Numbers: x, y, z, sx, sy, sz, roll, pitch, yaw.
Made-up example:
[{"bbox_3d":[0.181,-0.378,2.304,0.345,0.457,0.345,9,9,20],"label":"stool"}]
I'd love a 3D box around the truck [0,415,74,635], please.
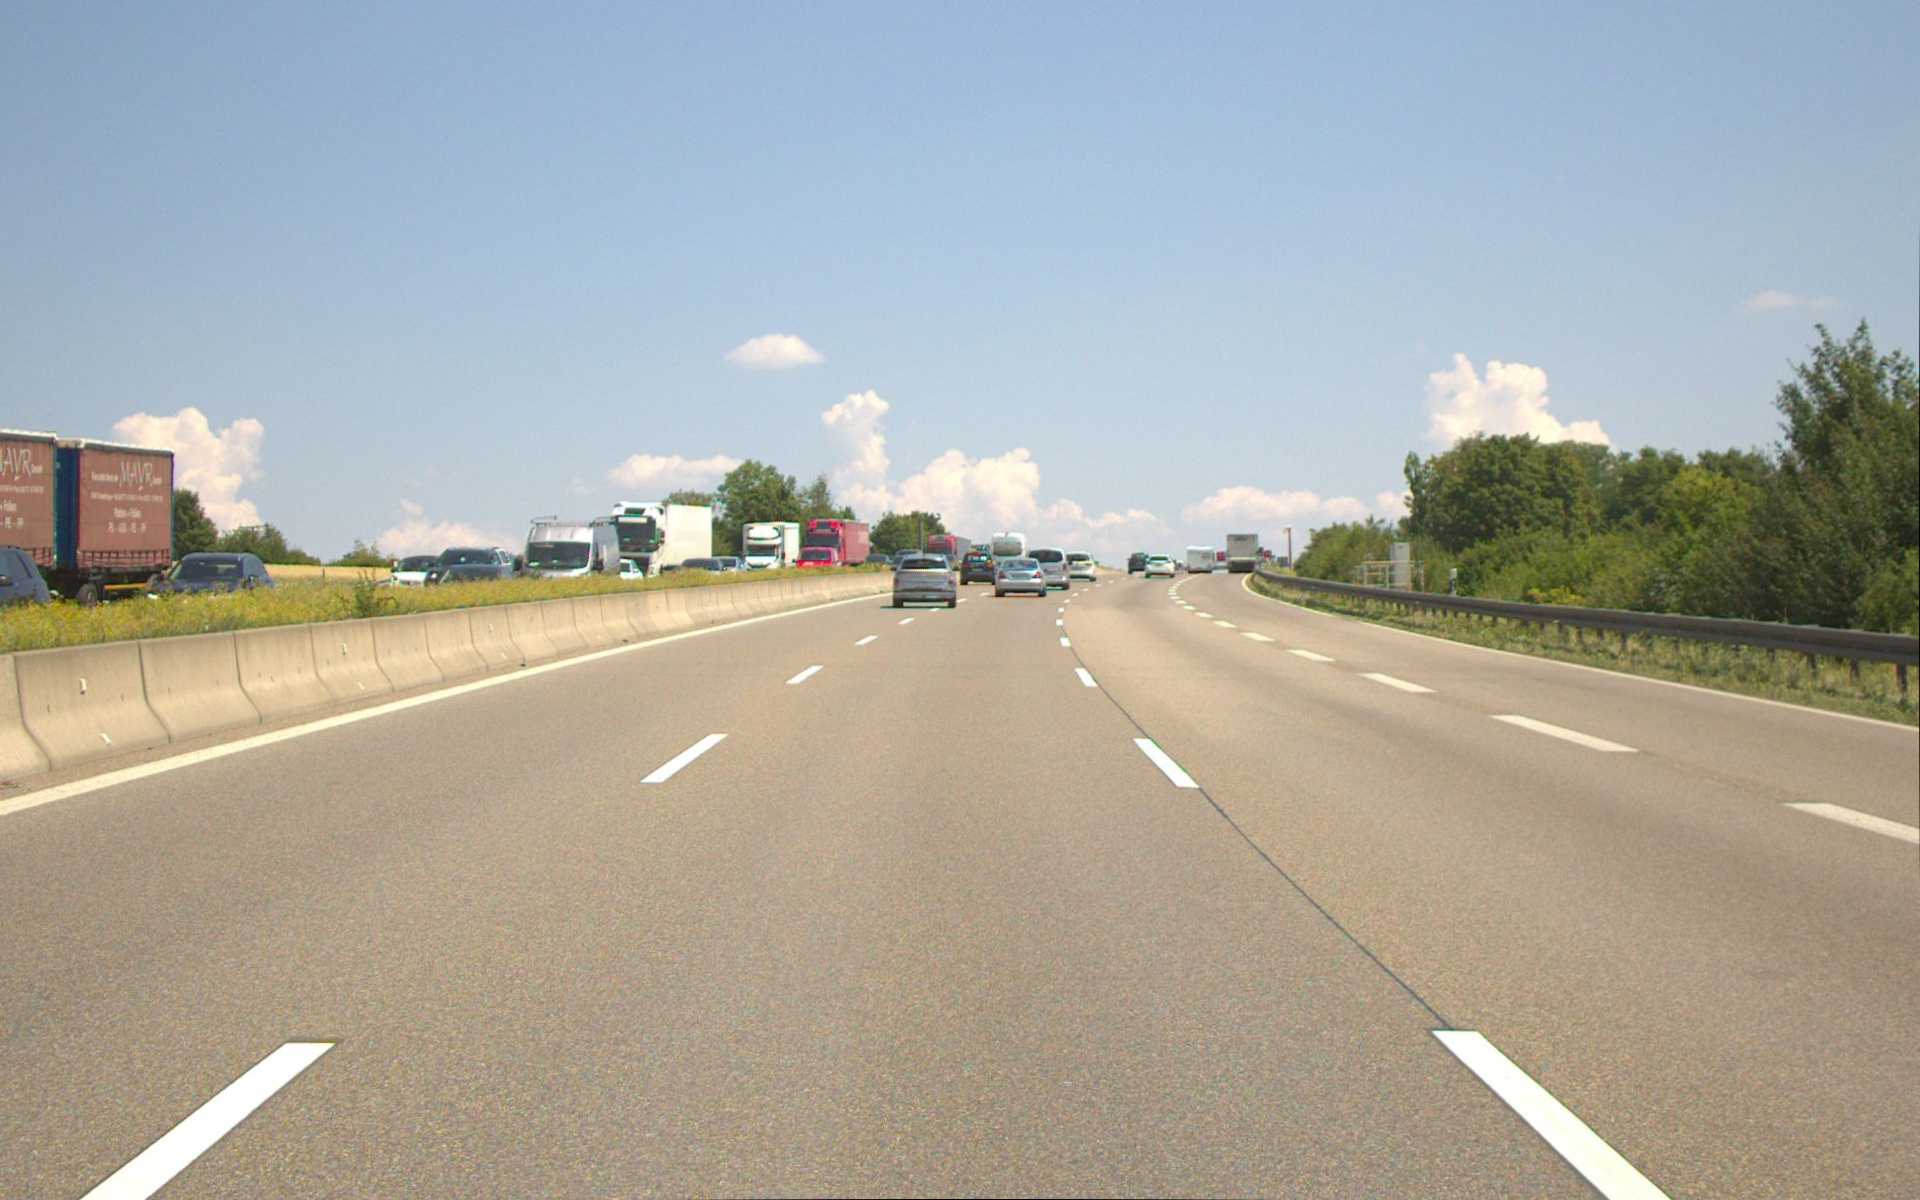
[{"bbox_3d":[-19.589,-1.433,64.610,2.887,4.157,10.622,1,1,1],"label":"truck"}]

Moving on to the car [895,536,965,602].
[{"bbox_3d":[-0.884,-0.884,101.130,1.993,1.744,4.000,1,-2,0],"label":"car"}]

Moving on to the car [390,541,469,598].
[{"bbox_3d":[-17.791,-1.026,115.467,1.993,1.842,4.000,1,0,0],"label":"car"}]

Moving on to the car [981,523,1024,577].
[{"bbox_3d":[2.303,-2.653,183.817,2.180,2.616,4.671,1,-2,2],"label":"car"}]

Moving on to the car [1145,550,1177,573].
[{"bbox_3d":[12.425,-2.388,212.723,1.902,1.437,4.000,1,1,4],"label":"car"}]

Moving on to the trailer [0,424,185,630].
[{"bbox_3d":[-19.328,-1.566,74.491,2.776,4.169,9.177,1,1,1],"label":"trailer"}]

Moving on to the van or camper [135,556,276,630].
[{"bbox_3d":[-15.308,-0.162,69.979,1.993,1.448,4.000,0,1,0],"label":"van or camper"}]

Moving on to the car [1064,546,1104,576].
[{"bbox_3d":[6.816,-2.156,188.621,1.994,1.546,4.000,2,1,4],"label":"car"}]

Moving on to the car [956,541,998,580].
[{"bbox_3d":[0.859,-1.972,169.991,1.847,1.854,4.205,1,2,3],"label":"car"}]

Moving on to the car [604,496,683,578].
[{"bbox_3d":[-15.115,-2.991,164.689,2.542,3.819,8.179,1,1,3],"label":"car"}]

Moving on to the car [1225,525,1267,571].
[{"bbox_3d":[14.598,-2.639,175.753,1.994,2.293,6.263,1,1,4],"label":"car"}]

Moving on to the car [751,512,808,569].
[{"bbox_3d":[-10.792,-3.558,206.401,2.542,3.368,8.179,1,1,3],"label":"car"}]

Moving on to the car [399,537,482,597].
[{"bbox_3d":[-14.877,-0.939,98.548,1.737,1.664,4.000,1,1,0],"label":"car"}]

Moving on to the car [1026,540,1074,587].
[{"bbox_3d":[3.972,-1.592,150.891,1.994,1.897,3.999,0,-2,3],"label":"car"}]

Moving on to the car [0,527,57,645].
[{"bbox_3d":[-15.604,-0.234,52.988,1.993,1.786,5.214,1,1,0],"label":"car"}]

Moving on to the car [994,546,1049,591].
[{"bbox_3d":[2.243,-1.148,126.544,1.993,1.579,4.000,0,-1,1],"label":"car"}]
